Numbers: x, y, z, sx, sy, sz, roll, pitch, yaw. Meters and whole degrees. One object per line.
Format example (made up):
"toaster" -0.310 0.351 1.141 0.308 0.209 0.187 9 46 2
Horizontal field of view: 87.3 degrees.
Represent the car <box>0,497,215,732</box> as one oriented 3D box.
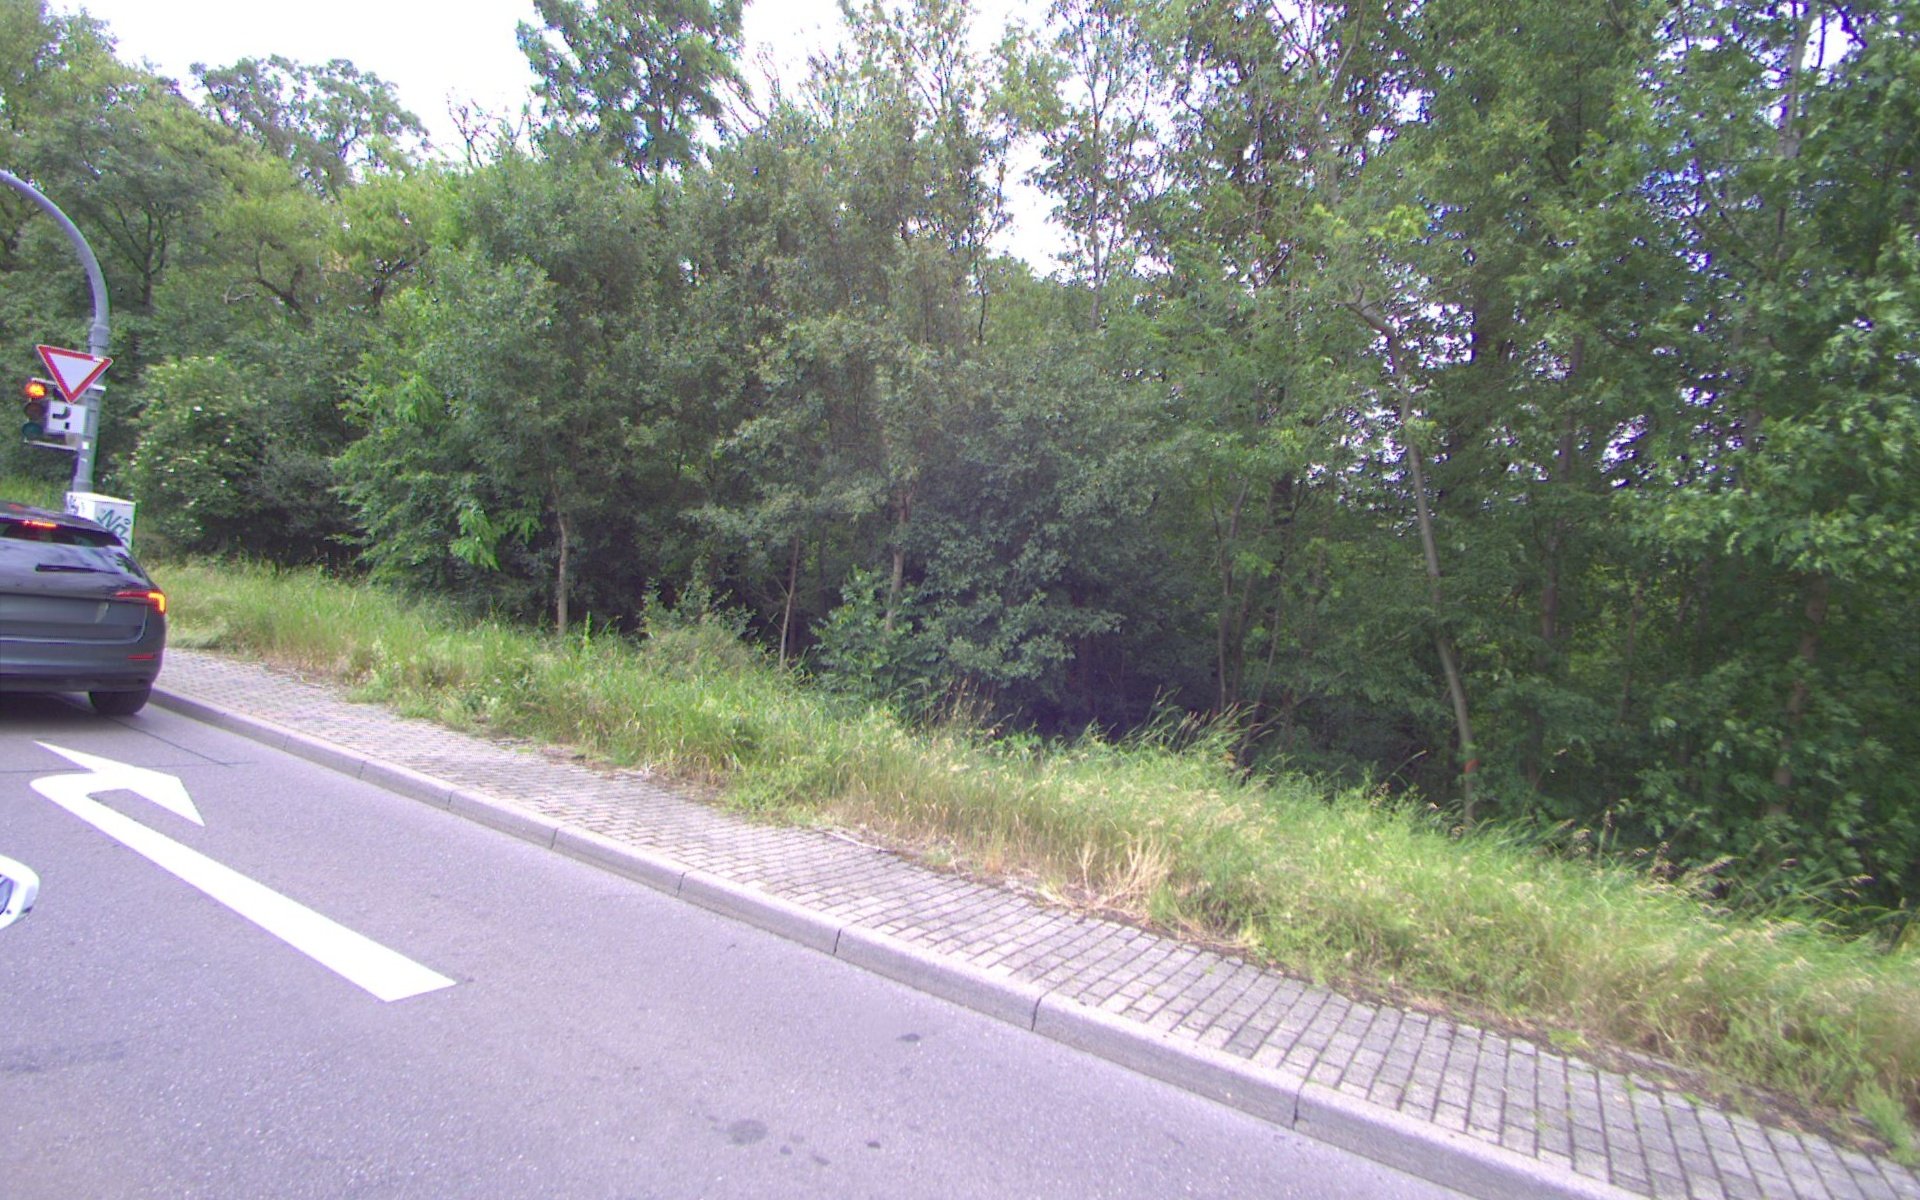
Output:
"car" -7.572 -0.080 7.475 3.933 1.468 1.796 7 -1 31
